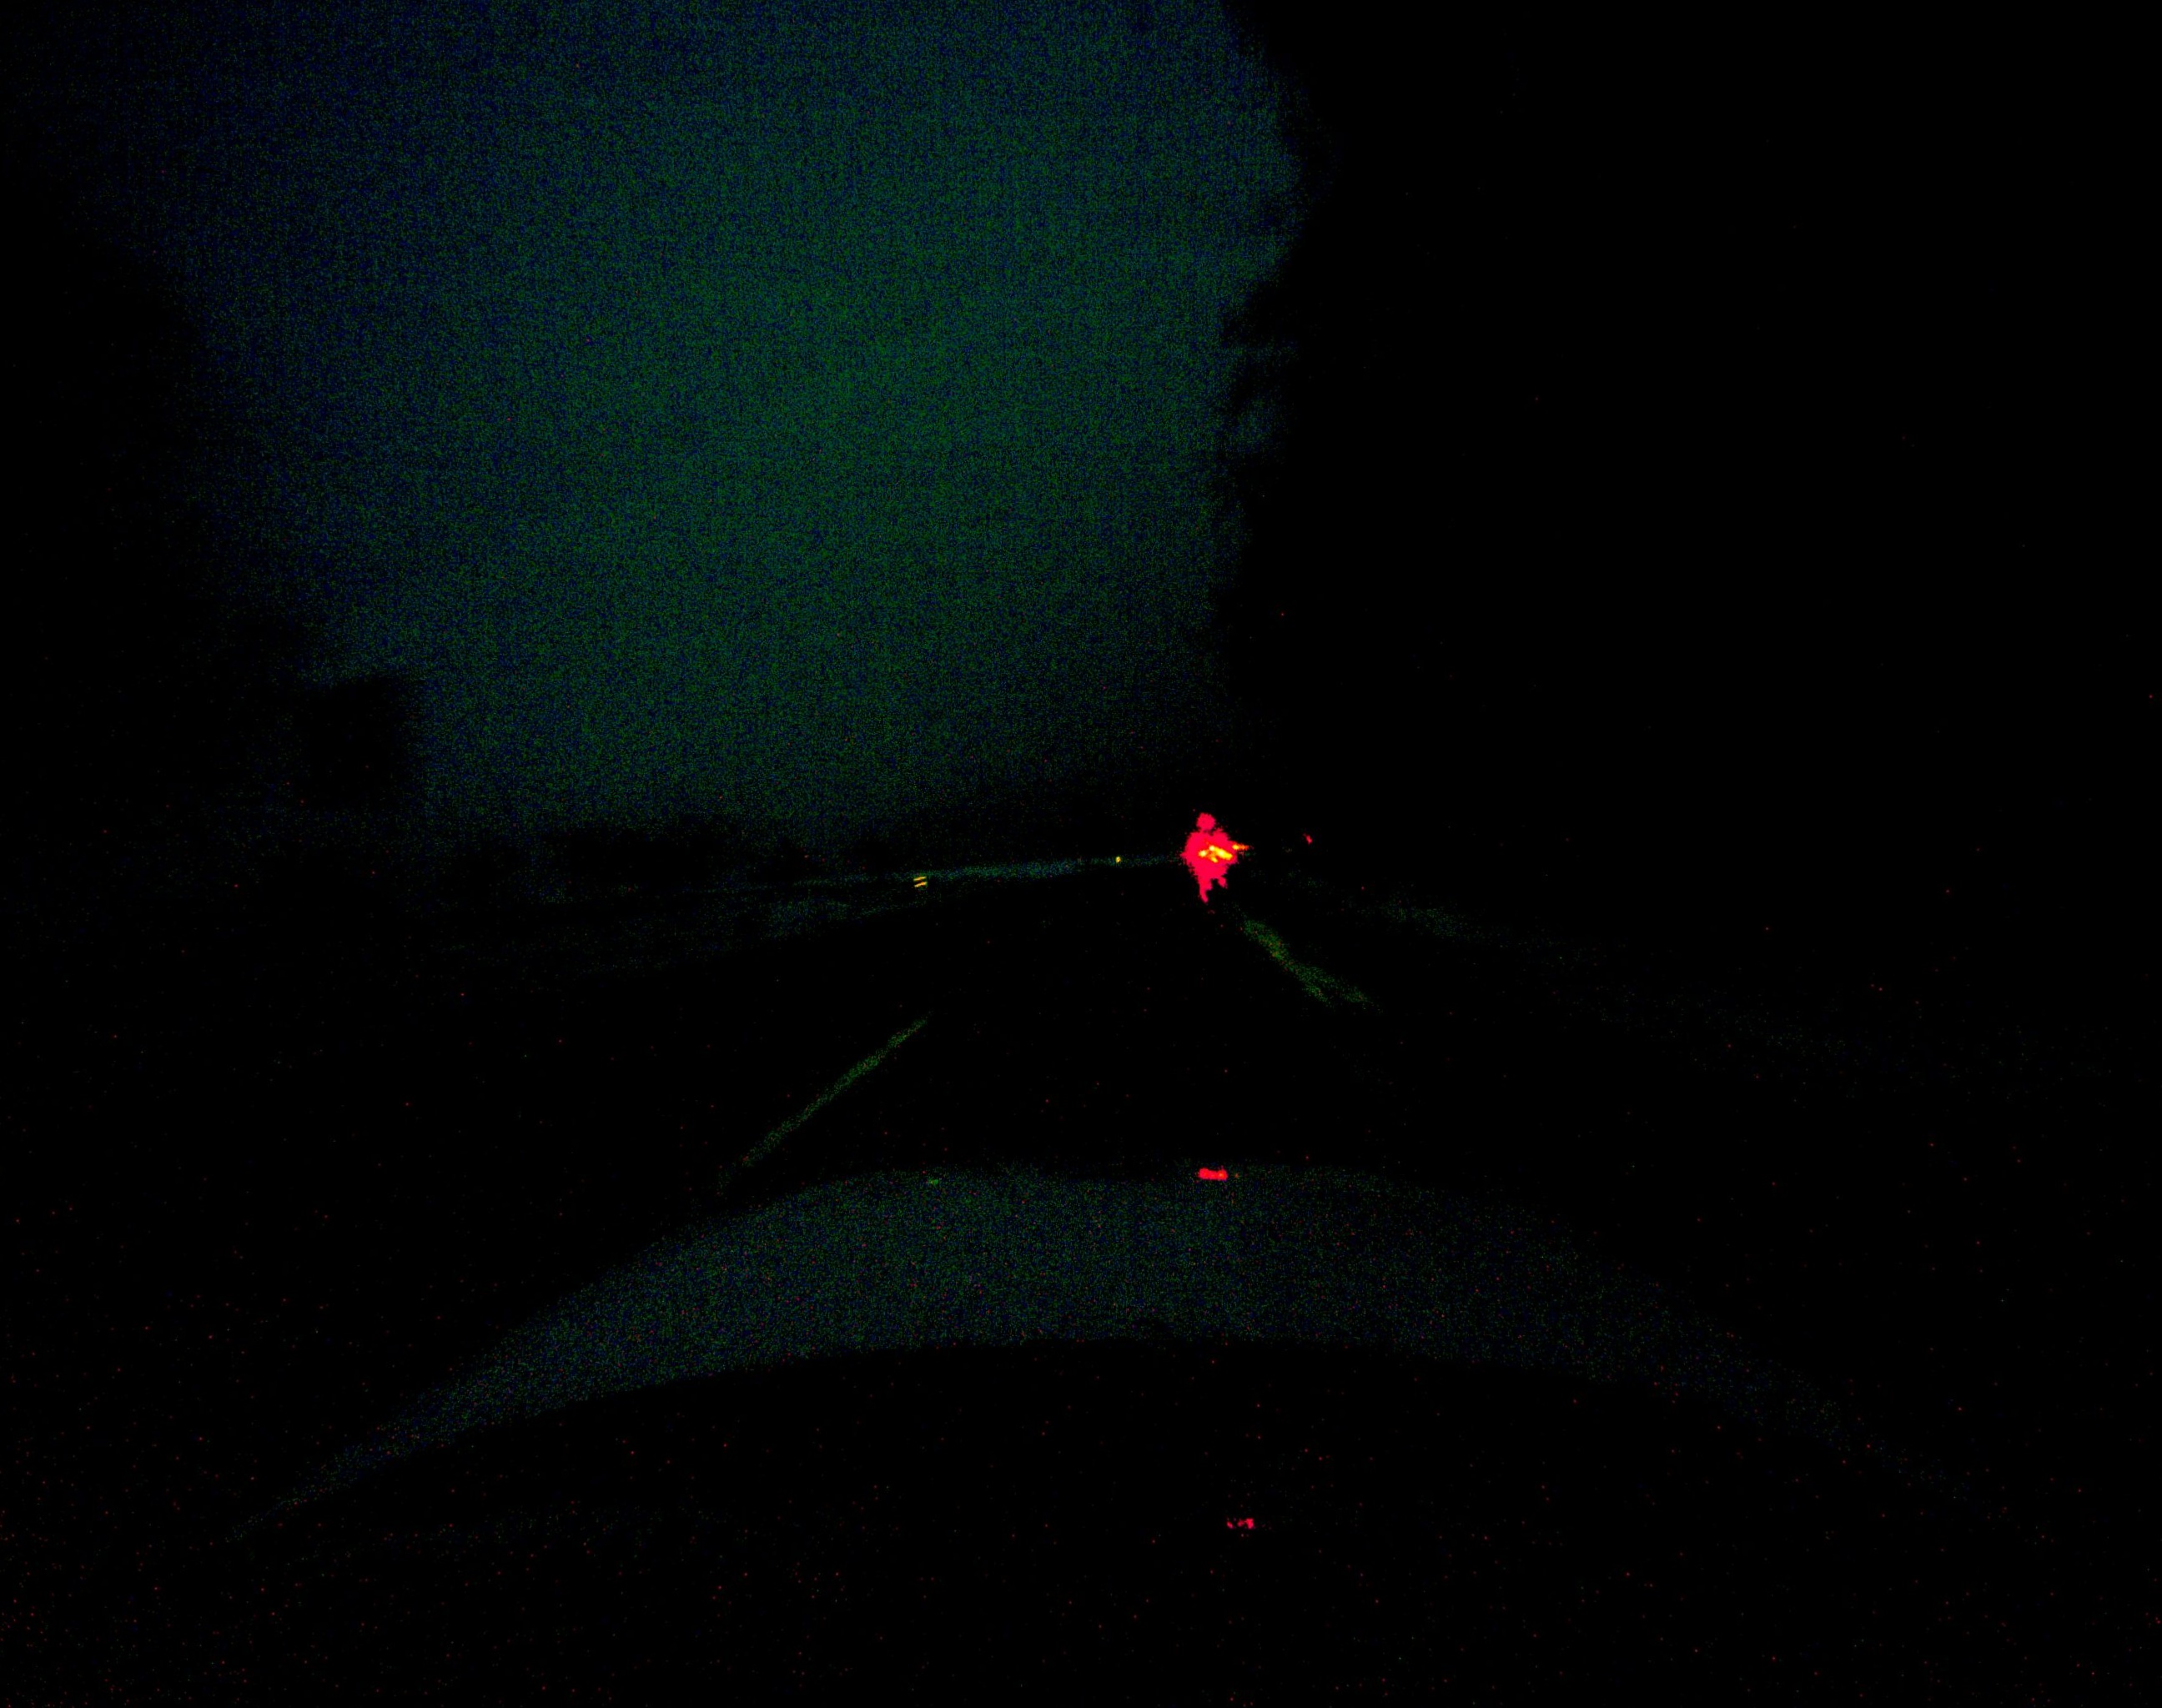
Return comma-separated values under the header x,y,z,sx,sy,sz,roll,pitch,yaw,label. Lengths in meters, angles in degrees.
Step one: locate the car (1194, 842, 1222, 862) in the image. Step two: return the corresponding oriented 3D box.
x,y,z,sx,sy,sz,roll,pitch,yaw,label
9.396,-0.175,60.179,1.910,1.276,4.012,-2,2,10,car
